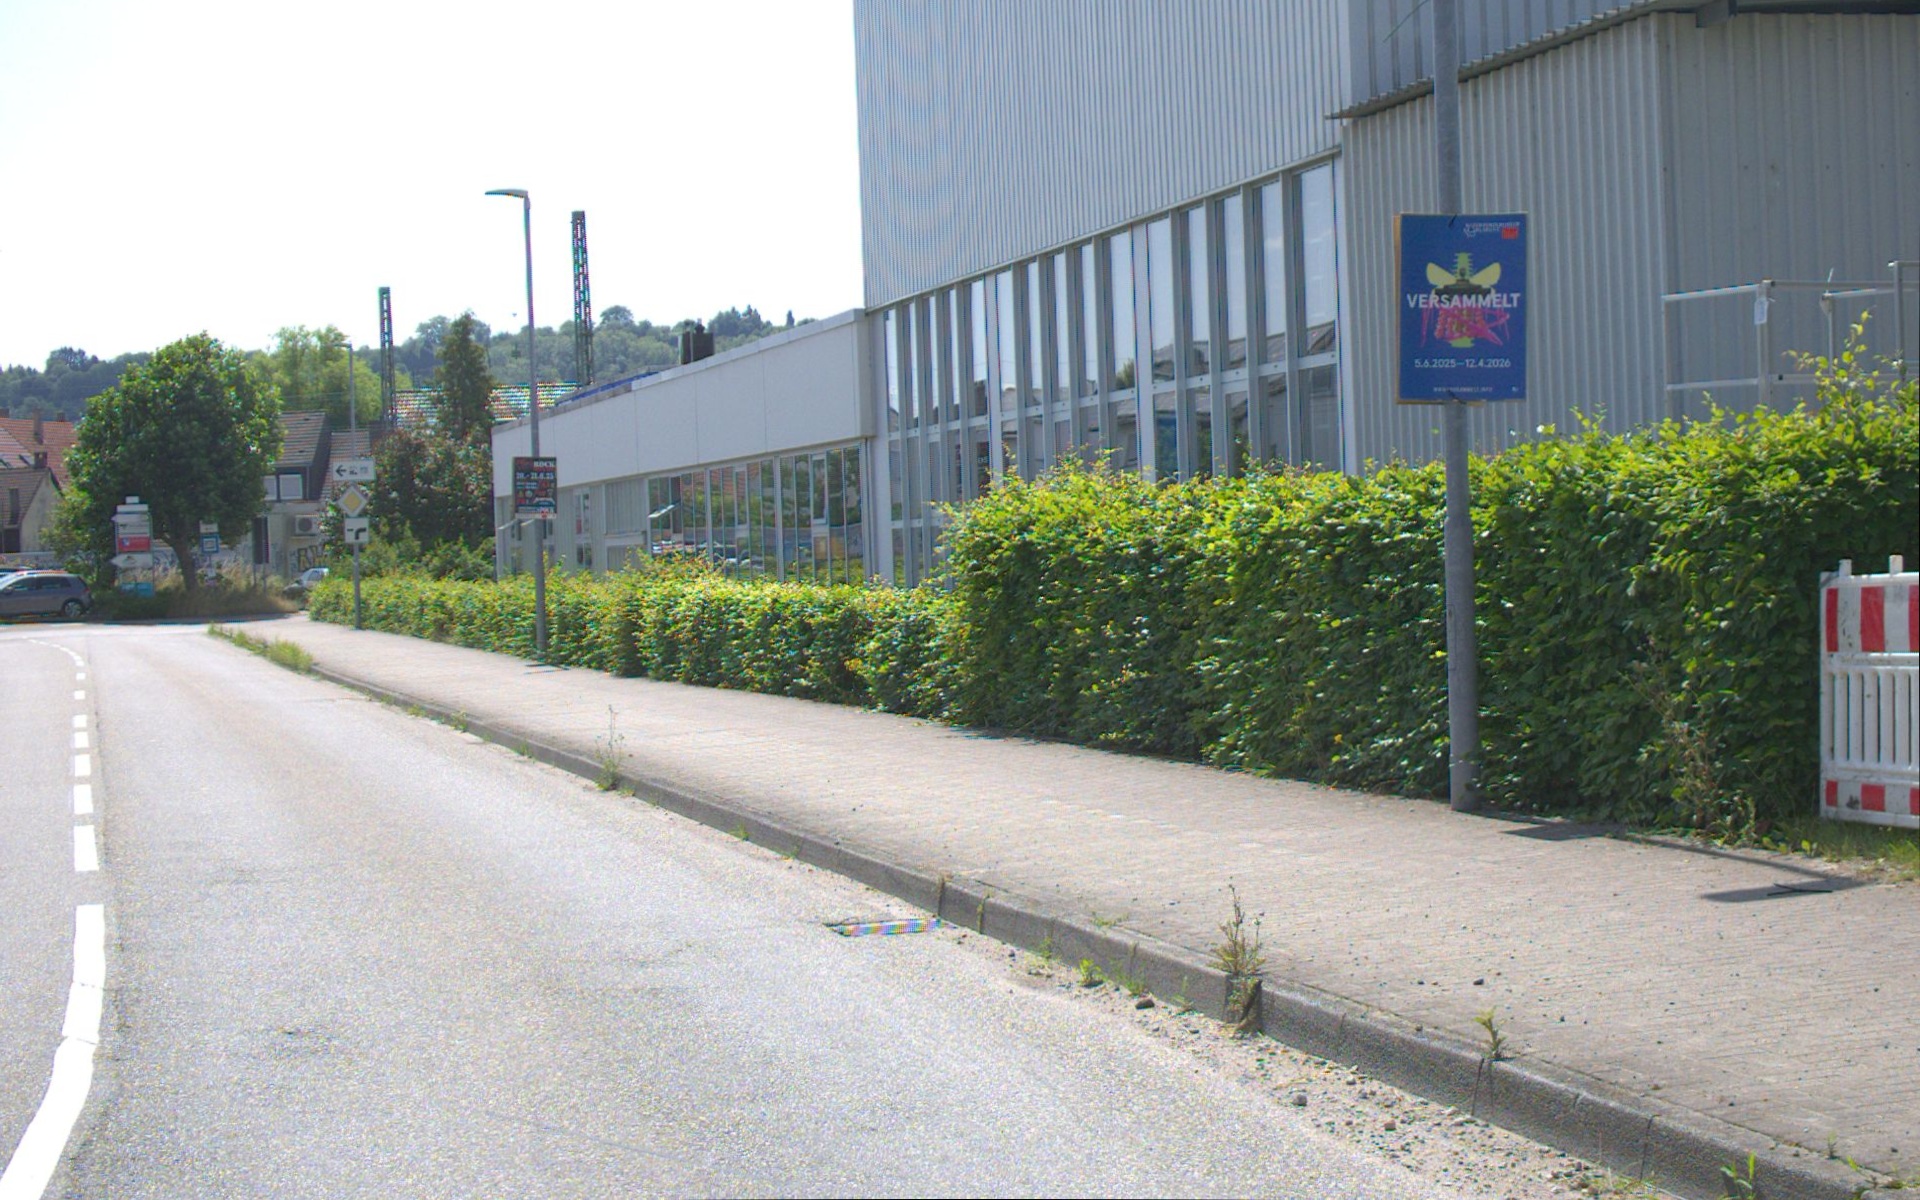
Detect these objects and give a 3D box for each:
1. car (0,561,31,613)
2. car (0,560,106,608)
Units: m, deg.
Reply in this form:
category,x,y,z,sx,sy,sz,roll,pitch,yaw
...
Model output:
category,x,y,z,sx,sy,sz,roll,pitch,yaw
car,-33.199,-0.420,114.794,3.986,1.724,1.770,0,0,-24
car,-29.138,-0.490,108.175,4.186,1.458,1.665,-1,0,-23
